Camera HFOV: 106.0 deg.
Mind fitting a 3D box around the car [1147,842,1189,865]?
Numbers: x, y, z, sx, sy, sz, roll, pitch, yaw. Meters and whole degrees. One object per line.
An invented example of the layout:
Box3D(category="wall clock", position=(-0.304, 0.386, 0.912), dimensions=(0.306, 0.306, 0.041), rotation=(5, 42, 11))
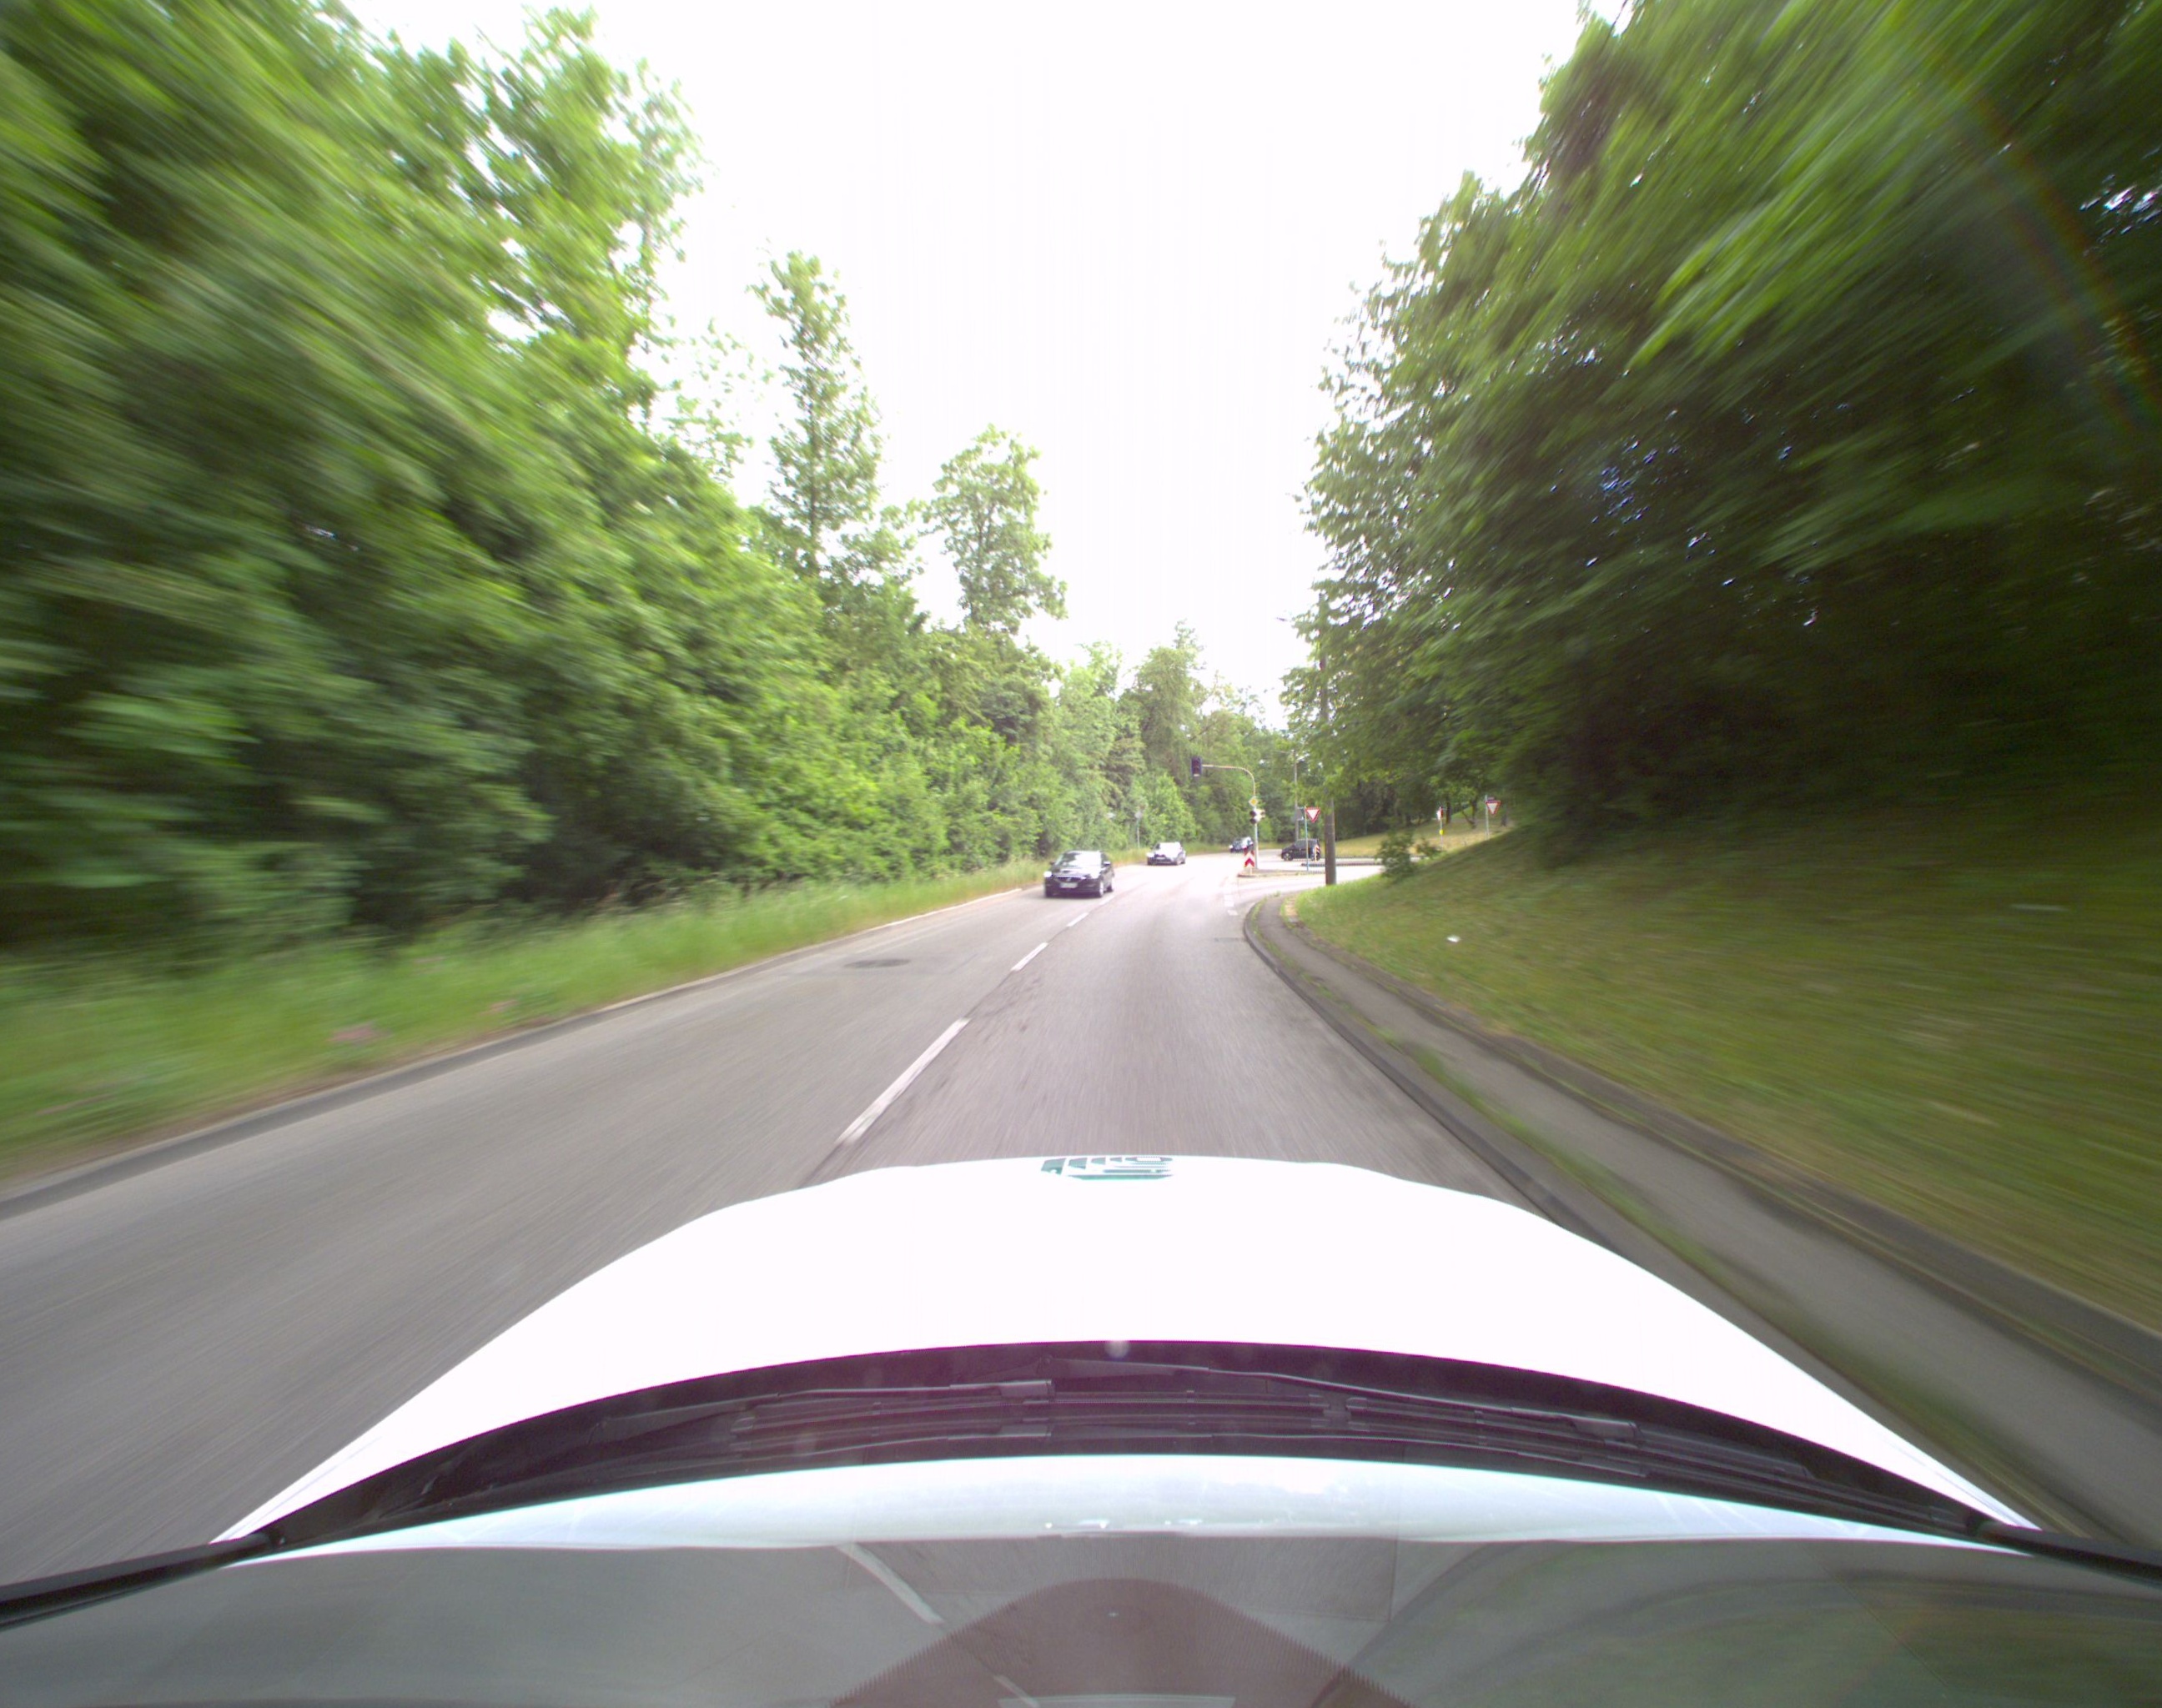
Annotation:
Box3D(category="car", position=(5.530, -0.066, 51.239), dimensions=(1.884, 1.354, 4.862), rotation=(1, 1, 15))

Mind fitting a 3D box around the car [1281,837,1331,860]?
Box3D(category="car", position=(15.781, -0.371, 57.185), dimensions=(3.278, 1.494, 1.675), rotation=(-1, 1, 17))

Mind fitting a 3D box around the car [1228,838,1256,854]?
Box3D(category="car", position=(16.184, -0.791, 81.847), dimensions=(1.773, 1.514, 4.870), rotation=(-1, 1, 24))

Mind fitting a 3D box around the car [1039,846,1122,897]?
Box3D(category="car", position=(0.091, 0.505, 26.523), dimensions=(1.791, 1.434, 4.675), rotation=(1, 1, 11))
